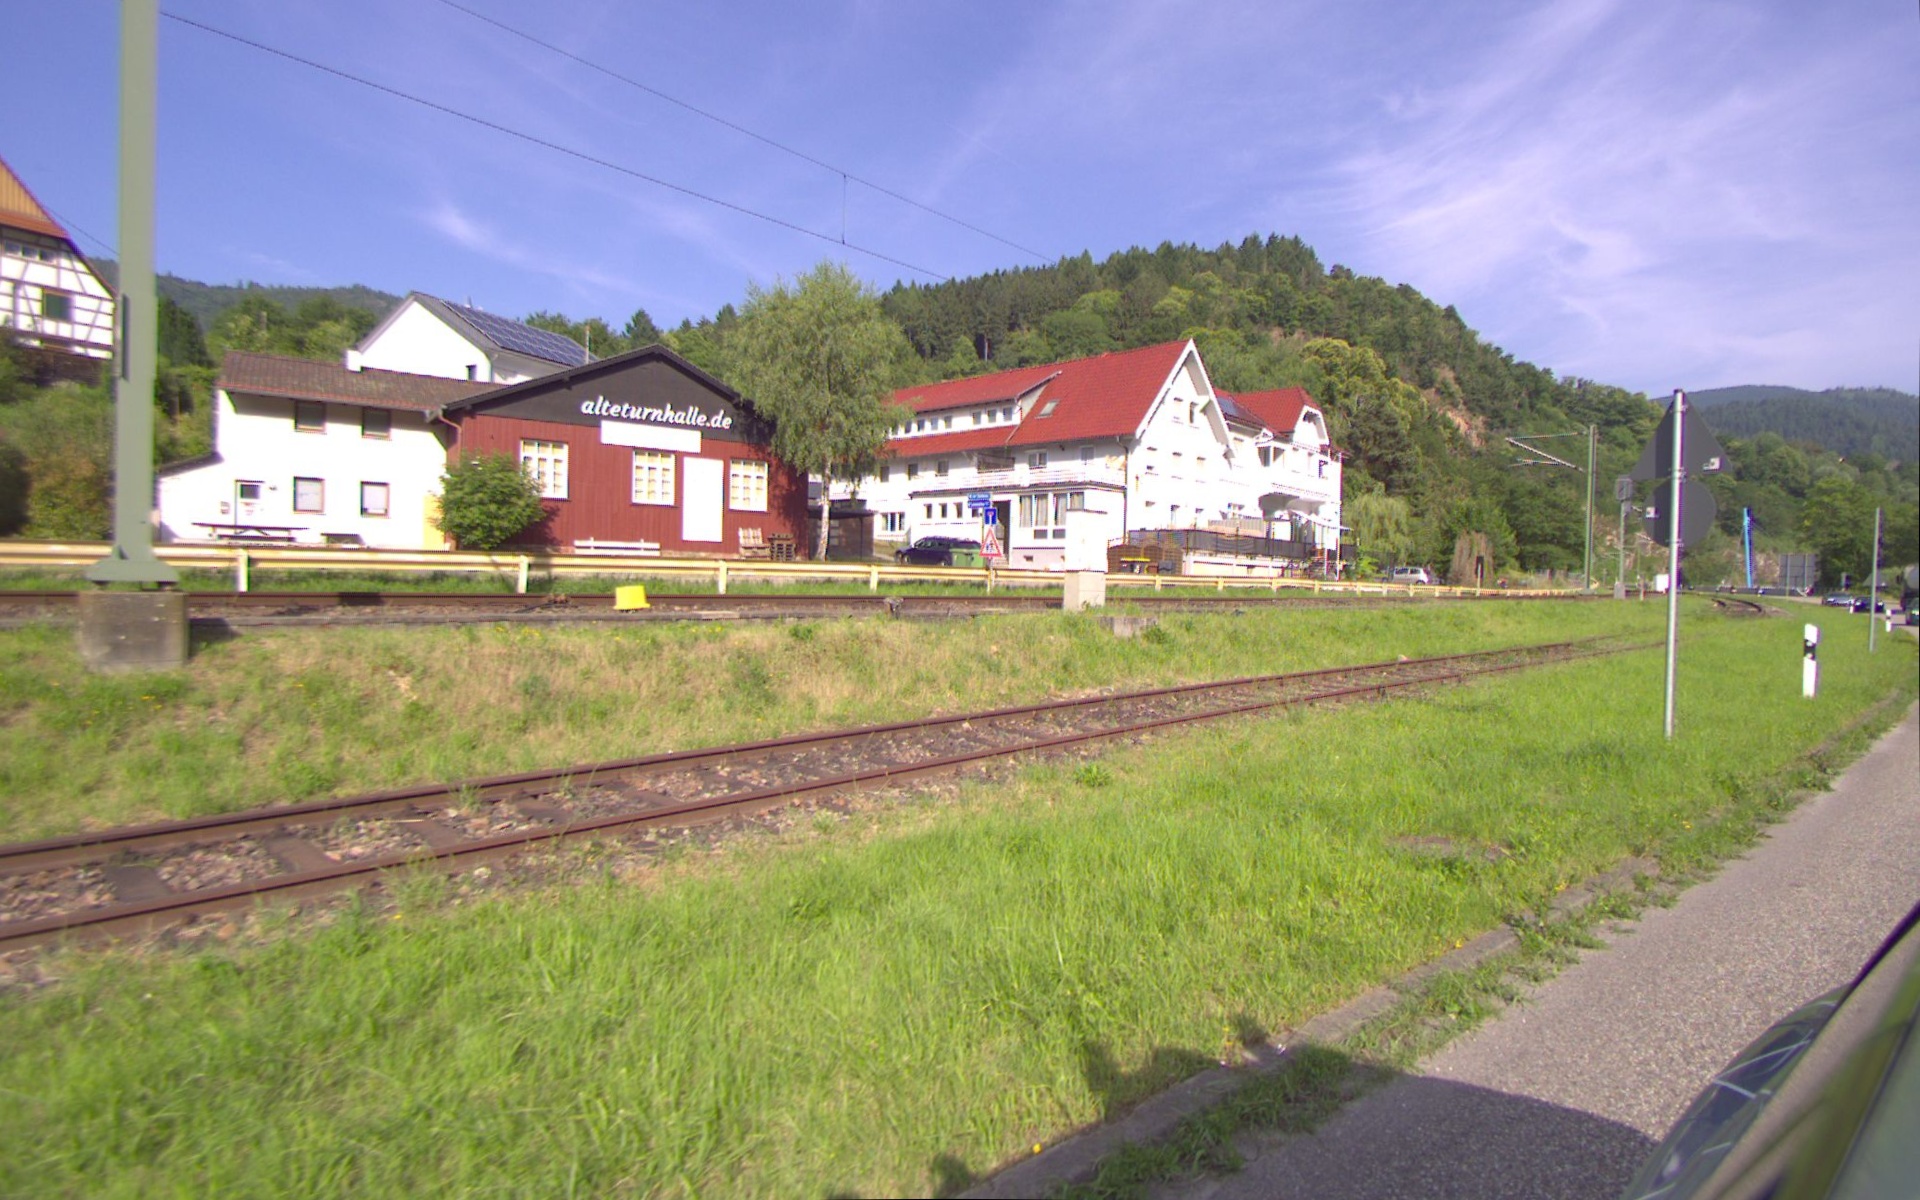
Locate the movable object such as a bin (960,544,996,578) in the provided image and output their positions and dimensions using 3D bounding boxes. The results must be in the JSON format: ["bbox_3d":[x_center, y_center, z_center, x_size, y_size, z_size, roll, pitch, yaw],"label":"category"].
[{"bbox_3d":[0.590,-1.273,33.137,0.896,1.064,0.808,1,-1,-43],"label":"movable object such as a bin"}]

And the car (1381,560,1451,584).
[{"bbox_3d":[33.555,-2.079,74.440,4.306,1.549,1.972,4,2,38],"label":"car"}]

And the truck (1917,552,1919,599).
[{"bbox_3d":[76.663,-1.943,77.936,2.743,3.883,14.366,0,1,37],"label":"truck"}]

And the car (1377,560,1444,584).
[{"bbox_3d":[32.163,-1.998,72.323,3.981,1.549,1.972,4,2,38],"label":"car"}]

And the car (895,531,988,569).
[{"bbox_3d":[-0.833,-2.189,43.944,1.795,1.392,3.994,0,4,-43],"label":"car"}]

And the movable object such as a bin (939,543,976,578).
[{"bbox_3d":[-0.076,-1.264,32.384,0.896,1.064,0.808,1,-1,-43],"label":"movable object such as a bin"}]

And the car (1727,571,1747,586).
[{"bbox_3d":[115.301,-3.206,150.247,1.987,2.038,3.952,4,3,34],"label":"car"}]

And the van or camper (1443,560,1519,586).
[{"bbox_3d":[44.847,-2.331,87.233,5.420,1.952,2.087,5,4,44],"label":"van or camper"}]

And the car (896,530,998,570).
[{"bbox_3d":[-0.542,-1.967,39.413,1.793,1.392,3.996,0,4,-41],"label":"car"}]

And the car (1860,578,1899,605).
[{"bbox_3d":[74.284,-0.708,81.826,1.991,2.038,3.944,4,3,39],"label":"car"}]

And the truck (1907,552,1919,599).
[{"bbox_3d":[81.416,-2.045,84.330,2.743,3.883,8.089,0,1,37],"label":"truck"}]

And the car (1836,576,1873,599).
[{"bbox_3d":[85.547,-1.209,96.827,1.987,2.038,3.952,4,3,34],"label":"car"}]
